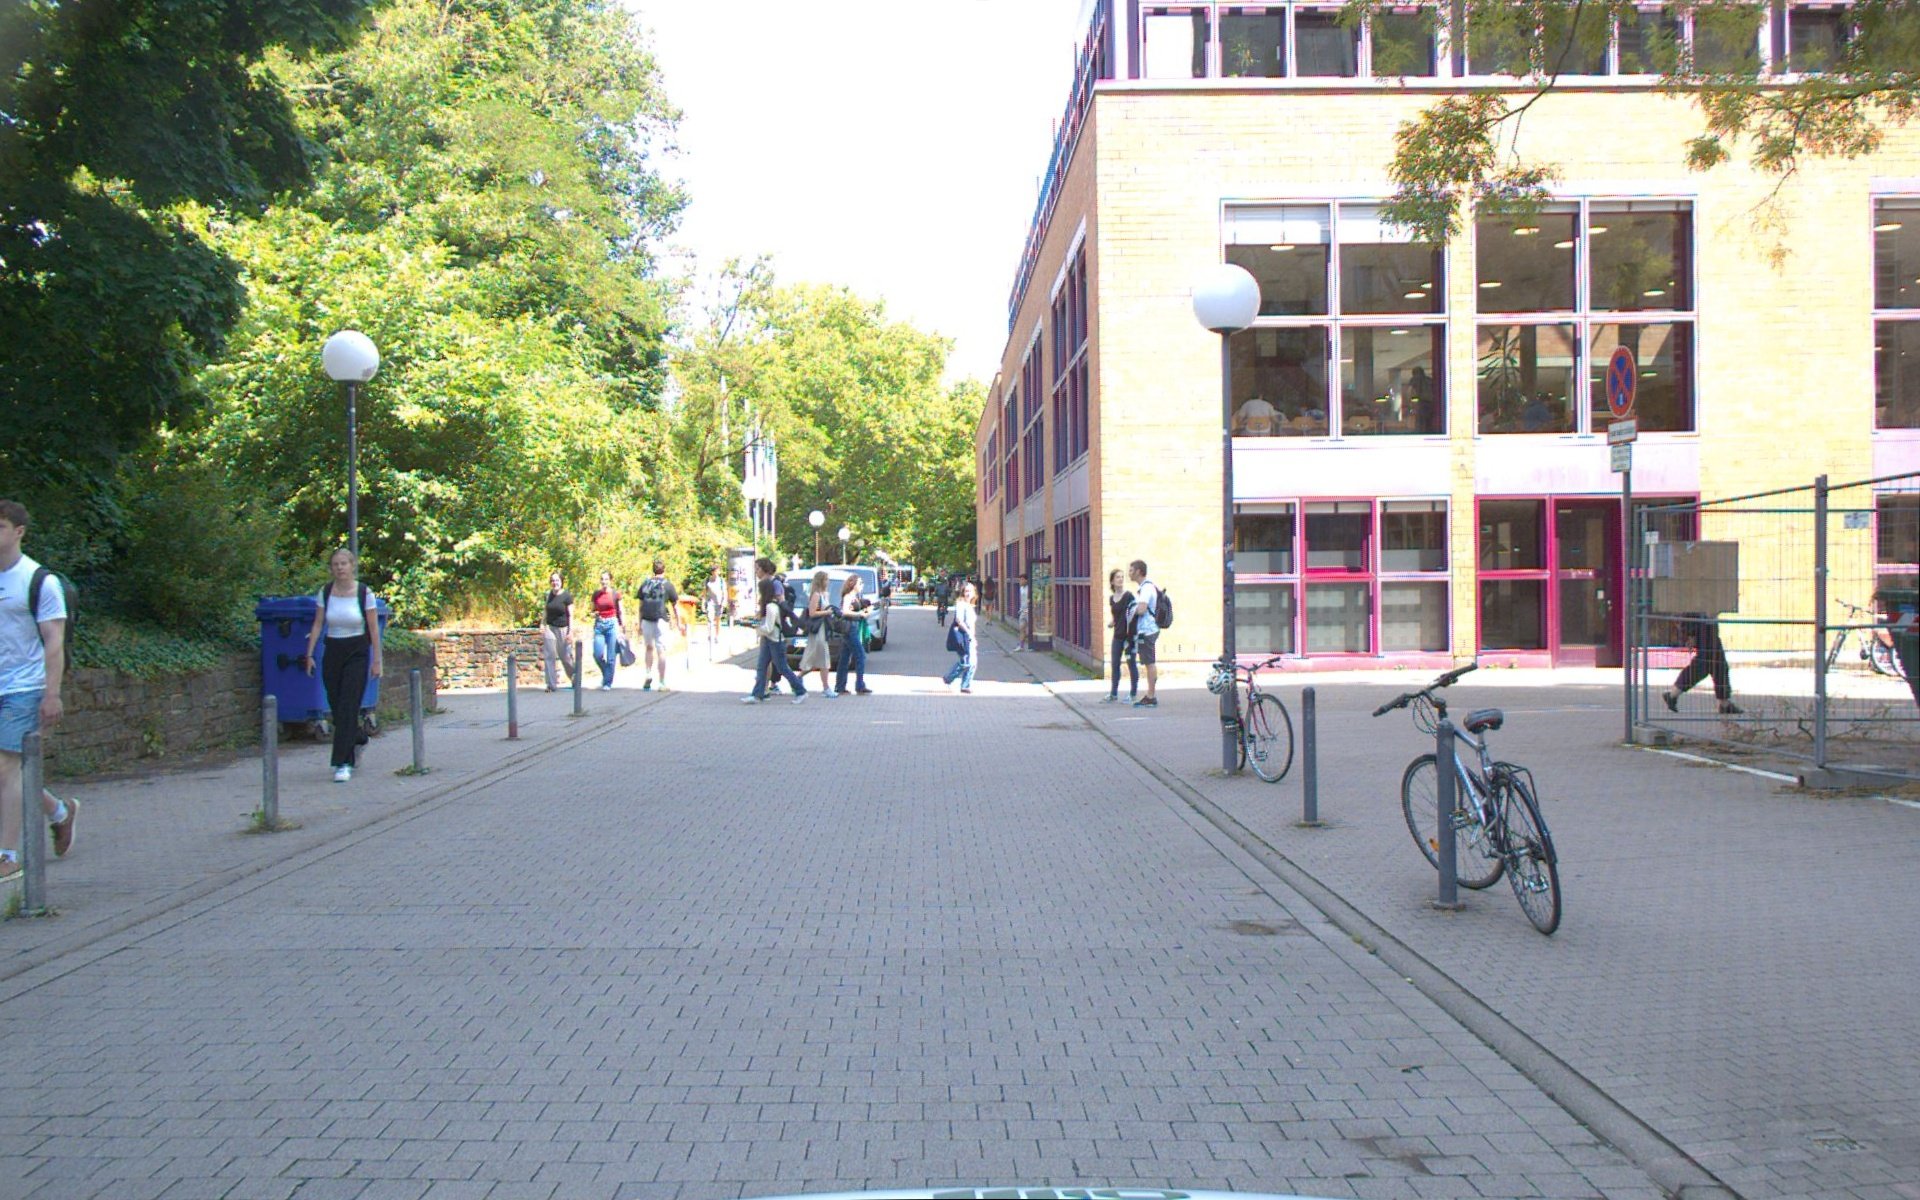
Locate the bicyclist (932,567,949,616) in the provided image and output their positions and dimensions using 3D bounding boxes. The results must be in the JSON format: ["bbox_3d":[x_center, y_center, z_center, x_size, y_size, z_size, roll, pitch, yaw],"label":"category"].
[{"bbox_3d":[-0.704,-0.296,59.081,0.575,1.746,0.665,0,0,-5],"label":"bicyclist"}]

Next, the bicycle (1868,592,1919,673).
[{"bbox_3d":[13.917,0.465,23.495,1.774,1.129,0.523,1,0,-4],"label":"bicycle"}]

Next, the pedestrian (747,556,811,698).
[{"bbox_3d":[-2.414,0.359,22.129,0.809,1.876,0.684,0,-1,-4],"label":"pedestrian"}]

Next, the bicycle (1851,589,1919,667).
[{"bbox_3d":[14.260,0.417,24.572,1.773,1.129,0.523,1,0,-2],"label":"bicycle"}]

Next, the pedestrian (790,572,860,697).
[{"bbox_3d":[-1.855,0.471,22.830,0.867,1.702,0.559,0,-1,6],"label":"pedestrian"}]

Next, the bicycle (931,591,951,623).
[{"bbox_3d":[-0.698,0.233,59.069,0.575,1.102,1.906,0,0,-5],"label":"bicycle"}]

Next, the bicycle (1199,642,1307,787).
[{"bbox_3d":[2.285,0.863,13.037,0.441,0.978,1.739,-3,0,-2],"label":"bicycle"}]

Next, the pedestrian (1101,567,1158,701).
[{"bbox_3d":[2.211,0.442,21.572,0.682,1.702,0.588,-2,-1,6],"label":"pedestrian"}]

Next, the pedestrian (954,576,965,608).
[{"bbox_3d":[-0.013,-0.499,105.168,0.640,1.956,0.817,-2,-1,0],"label":"pedestrian"}]

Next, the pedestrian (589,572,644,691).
[{"bbox_3d":[-4.873,0.439,23.511,0.669,1.649,0.912,0,-1,-6],"label":"pedestrian"}]

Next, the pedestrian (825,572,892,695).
[{"bbox_3d":[-1.443,0.472,23.558,0.910,1.702,0.588,-1,-1,-2],"label":"pedestrian"}]

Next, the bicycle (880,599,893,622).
[{"bbox_3d":[-3.483,0.492,78.469,0.575,1.102,1.812,0,0,-5],"label":"bicycle"}]

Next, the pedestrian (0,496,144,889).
[{"bbox_3d":[-4.828,0.455,8.587,0.710,1.914,1.081,0,-1,-6],"label":"pedestrian"}]

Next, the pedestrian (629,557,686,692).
[{"bbox_3d":[-4.270,0.341,23.392,0.668,1.876,0.783,0,-1,-1],"label":"pedestrian"}]

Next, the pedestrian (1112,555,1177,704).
[{"bbox_3d":[2.331,0.372,20.907,0.750,1.826,0.588,-2,-1,6],"label":"pedestrian"}]

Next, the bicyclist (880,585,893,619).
[{"bbox_3d":[-3.477,0.110,78.436,0.575,1.600,0.828,0,0,-5],"label":"bicyclist"}]

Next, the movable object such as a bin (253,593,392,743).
[{"bbox_3d":[-6.140,0.630,15.988,0.694,1.359,1.240,2,0,8],"label":"movable object such as a bin"}]

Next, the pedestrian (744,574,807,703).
[{"bbox_3d":[-2.383,0.492,21.433,0.765,1.649,0.684,0,-1,-4],"label":"pedestrian"}]

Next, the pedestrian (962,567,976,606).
[{"bbox_3d":[0.397,-0.584,73.265,0.574,1.702,0.817,-2,-1,0],"label":"pedestrian"}]

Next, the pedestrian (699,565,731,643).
[{"bbox_3d":[-5.910,0.098,39.962,0.668,1.876,0.783,0,-1,-1],"label":"pedestrian"}]

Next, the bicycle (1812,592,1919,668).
[{"bbox_3d":[14.085,0.460,25.387,1.773,1.129,0.523,1,0,-3],"label":"bicycle"}]

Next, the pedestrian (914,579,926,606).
[{"bbox_3d":[-2.533,-0.454,104.939,0.710,1.702,0.748,-2,-1,0],"label":"pedestrian"}]

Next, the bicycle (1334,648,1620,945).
[{"bbox_3d":[2.255,0.805,7.456,0.694,1.112,1.748,0,0,-2],"label":"bicycle"}]

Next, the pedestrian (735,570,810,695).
[{"bbox_3d":[-2.635,0.448,23.313,0.867,1.701,0.644,-2,1,6],"label":"pedestrian"}]

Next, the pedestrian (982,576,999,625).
[{"bbox_3d":[1.091,0.021,59.508,0.574,1.702,0.699,-2,-1,0],"label":"pedestrian"}]

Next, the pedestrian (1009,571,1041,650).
[{"bbox_3d":[1.483,0.237,37.800,0.668,1.778,0.783,0,-1,-1],"label":"pedestrian"}]

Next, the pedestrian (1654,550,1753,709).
[{"bbox_3d":[8.030,0.313,17.881,0.834,1.680,0.588,0,-1,6],"label":"pedestrian"}]

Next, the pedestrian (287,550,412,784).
[{"bbox_3d":[-4.764,0.498,12.956,0.669,1.758,1.001,0,0,-5],"label":"pedestrian"}]

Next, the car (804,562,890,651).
[{"bbox_3d":[-2.684,0.117,40.284,1.845,2.008,5.213,0,1,-1],"label":"car"}]

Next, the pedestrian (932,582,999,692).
[{"bbox_3d":[0.082,0.527,24.223,0.867,1.569,0.743,-1,0,6],"label":"pedestrian"}]

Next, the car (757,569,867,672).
[{"bbox_3d":[-2.720,0.337,31.295,1.754,1.792,4.480,-1,1,-1],"label":"car"}]

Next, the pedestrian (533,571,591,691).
[{"bbox_3d":[-5.628,0.432,23.416,0.669,1.649,0.977,0,-1,-6],"label":"pedestrian"}]
